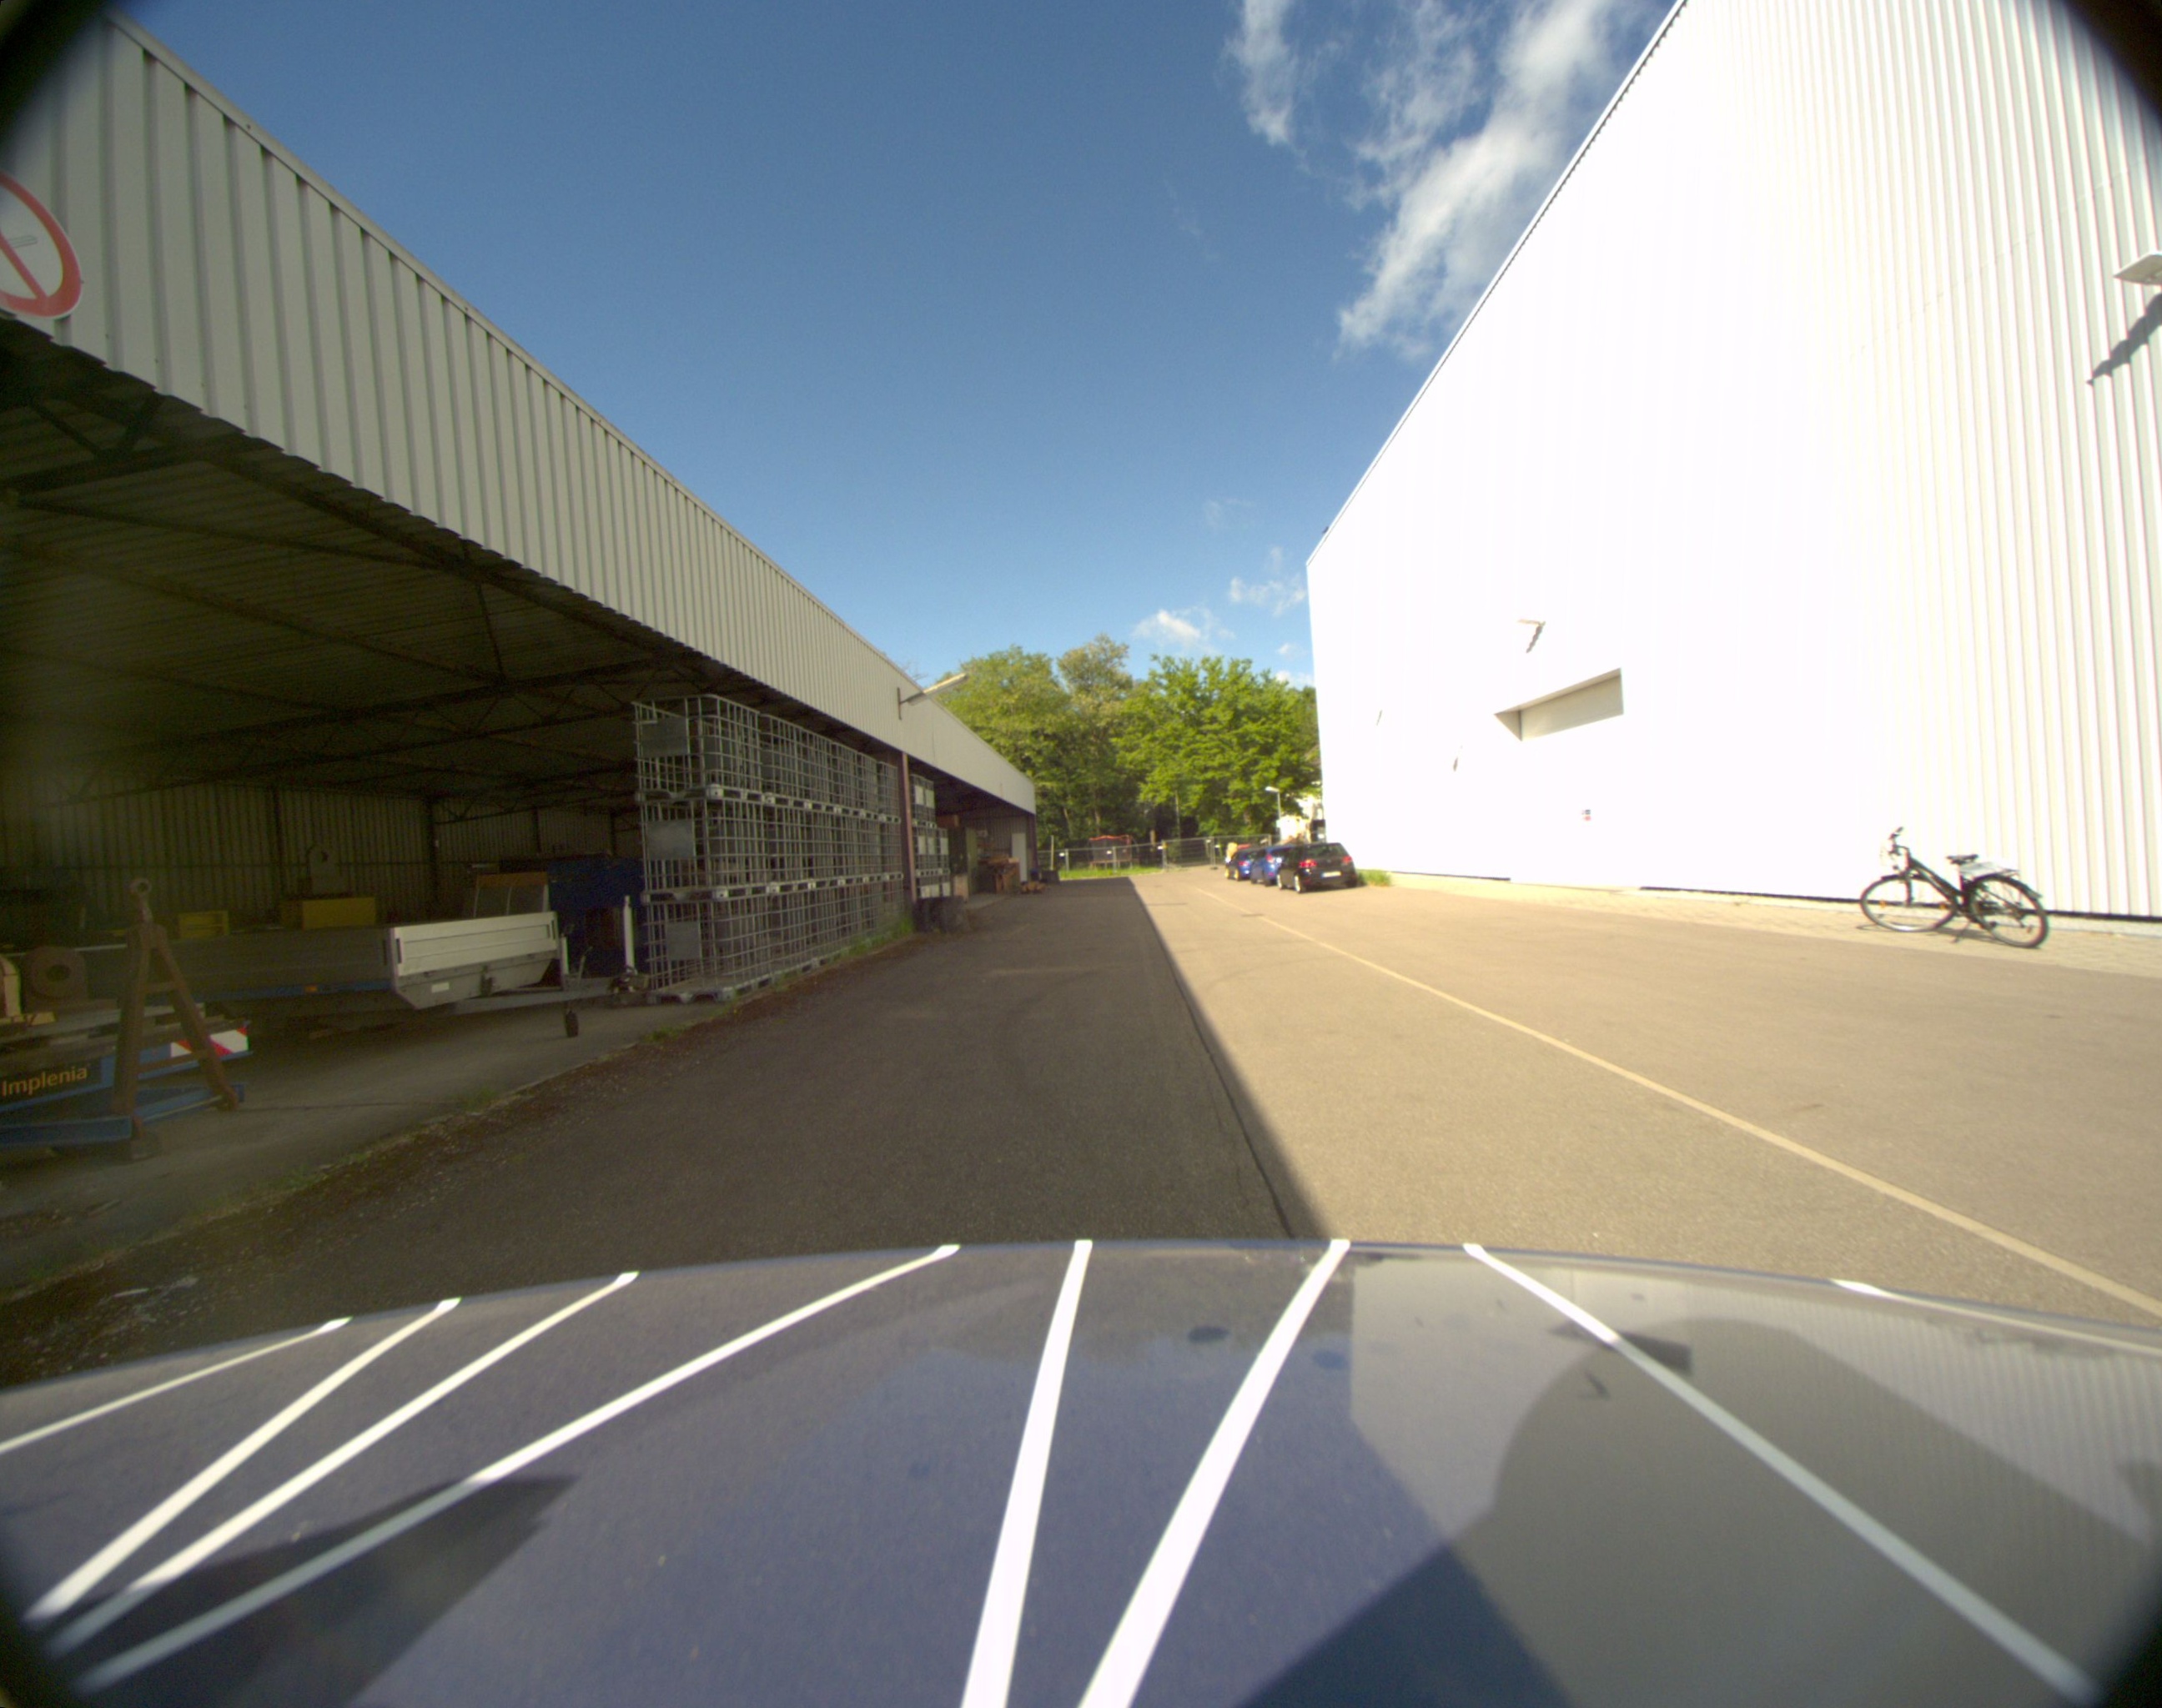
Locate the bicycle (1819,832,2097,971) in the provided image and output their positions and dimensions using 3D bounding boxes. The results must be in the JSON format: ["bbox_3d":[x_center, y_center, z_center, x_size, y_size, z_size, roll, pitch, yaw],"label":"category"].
[{"bbox_3d":[8.662,0.411,7.667,0.909,1.136,1.901,-7,0,18],"label":"bicycle"}]

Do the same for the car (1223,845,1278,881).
[{"bbox_3d":[7.610,0.358,34.418,1.789,1.431,4.001,-3,0,4],"label":"car"}]

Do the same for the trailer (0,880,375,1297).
[{"bbox_3d":[-6.809,1.095,3.665,4.879,1.619,2.029,-3,1,2],"label":"trailer"}]

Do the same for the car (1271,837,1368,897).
[{"bbox_3d":[7.290,0.349,23.669,1.895,1.513,4.001,-7,0,5],"label":"car"}]

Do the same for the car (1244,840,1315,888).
[{"bbox_3d":[7.460,0.343,28.916,1.789,1.513,4.001,-7,0,5],"label":"car"}]

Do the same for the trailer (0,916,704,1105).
[{"bbox_3d":[-6.925,1.356,7.024,5.836,1.113,2.029,-3,0,2],"label":"trailer"}]
